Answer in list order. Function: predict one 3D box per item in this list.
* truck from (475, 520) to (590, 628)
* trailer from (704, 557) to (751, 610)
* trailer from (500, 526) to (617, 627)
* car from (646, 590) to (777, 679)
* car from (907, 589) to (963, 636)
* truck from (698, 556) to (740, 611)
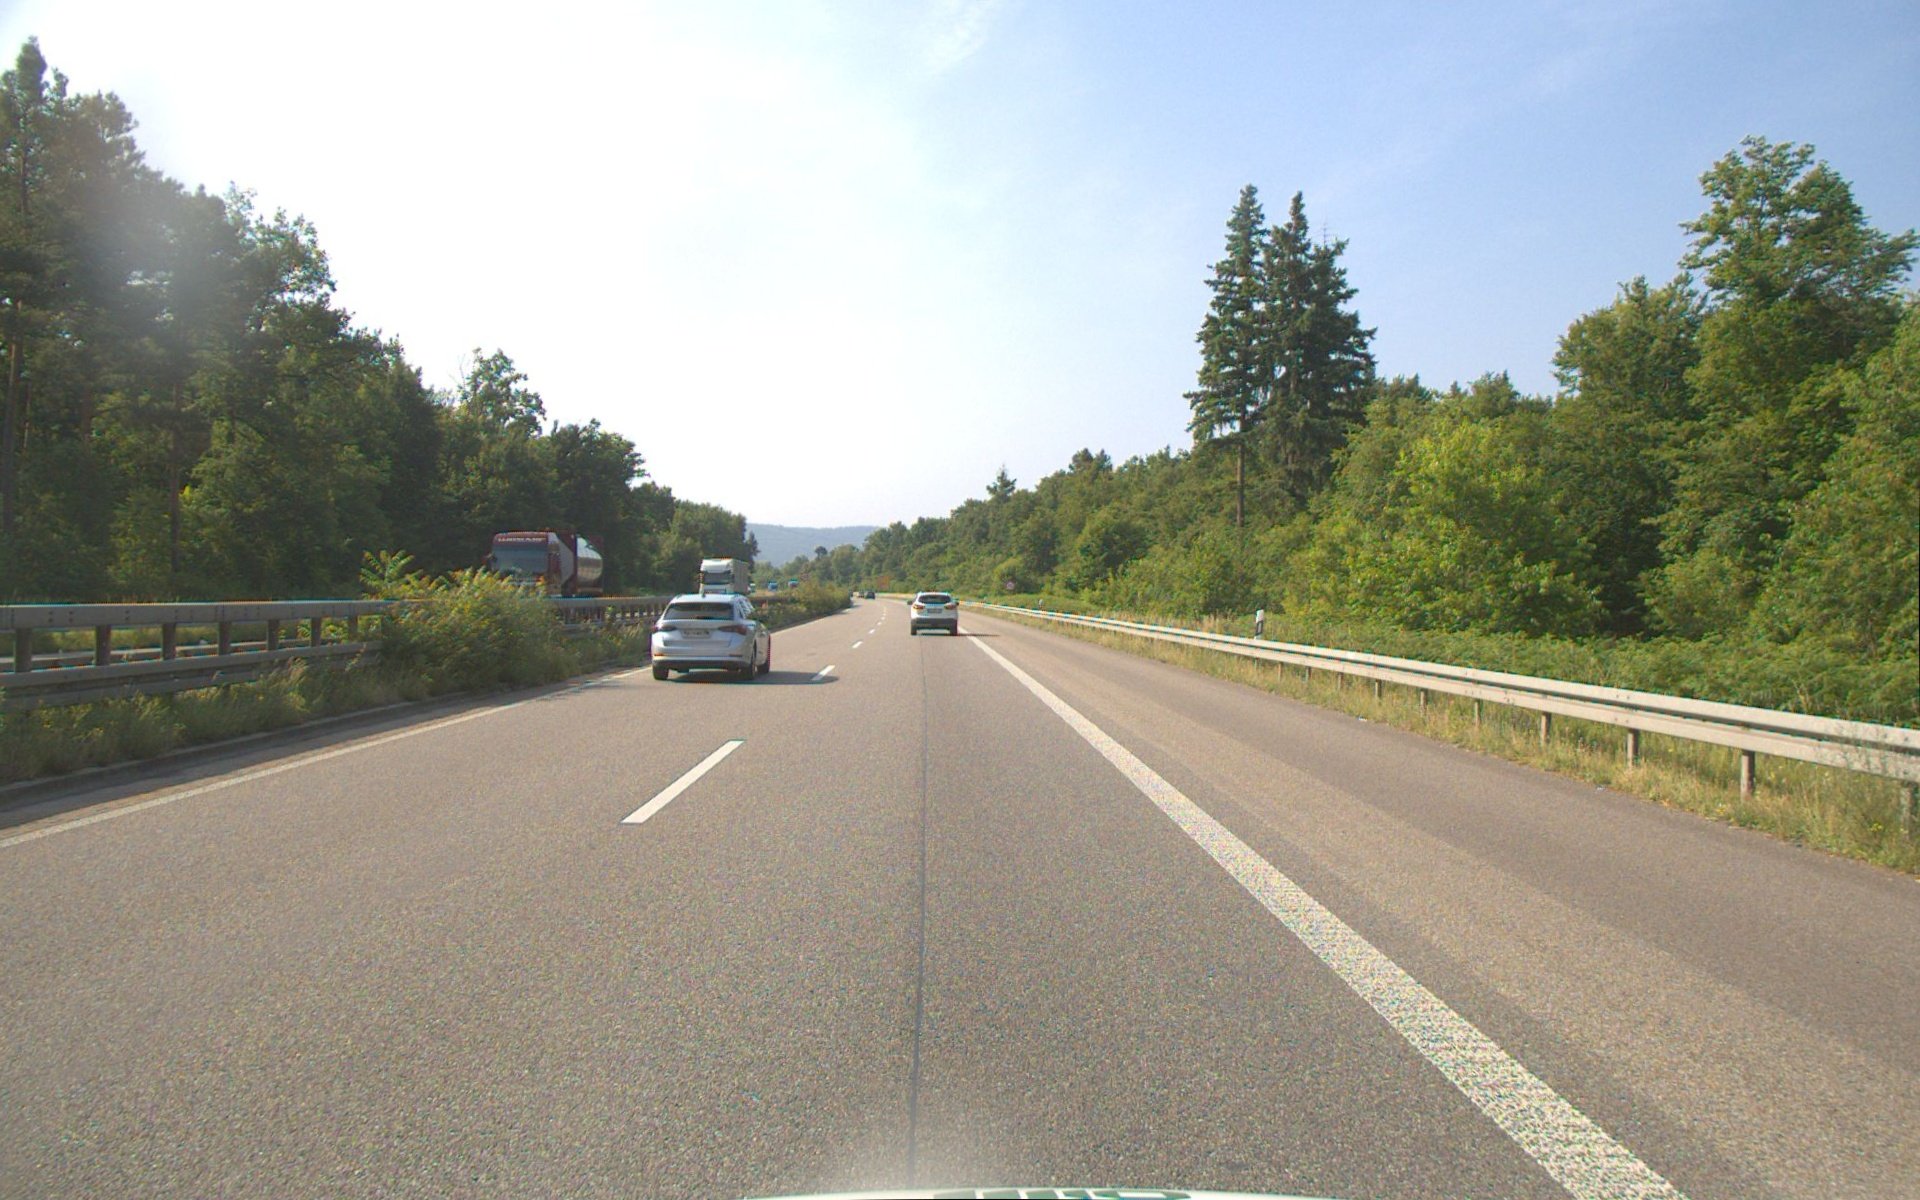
[{"bbox_3d":[-17.187,-0.975,66.888,3.201,4.110,6.230,1,0,-2],"label":"truck"},{"bbox_3d":[-19.683,-1.340,140.442,2.776,4.282,12.405,0,0,-3],"label":"trailer"},{"bbox_3d":[-17.353,-0.945,72.077,3.228,4.110,8.370,1,0,-2],"label":"trailer"},{"bbox_3d":[-4.403,0.555,30.002,1.756,1.463,5.276,0,0,-2],"label":"car"},{"bbox_3d":[-0.979,0.447,62.919,1.836,1.614,3.997,2,0,-4],"label":"car"},{"bbox_3d":[-19.343,-1.301,132.915,2.781,4.269,5.543,0,0,-3],"label":"truck"}]
